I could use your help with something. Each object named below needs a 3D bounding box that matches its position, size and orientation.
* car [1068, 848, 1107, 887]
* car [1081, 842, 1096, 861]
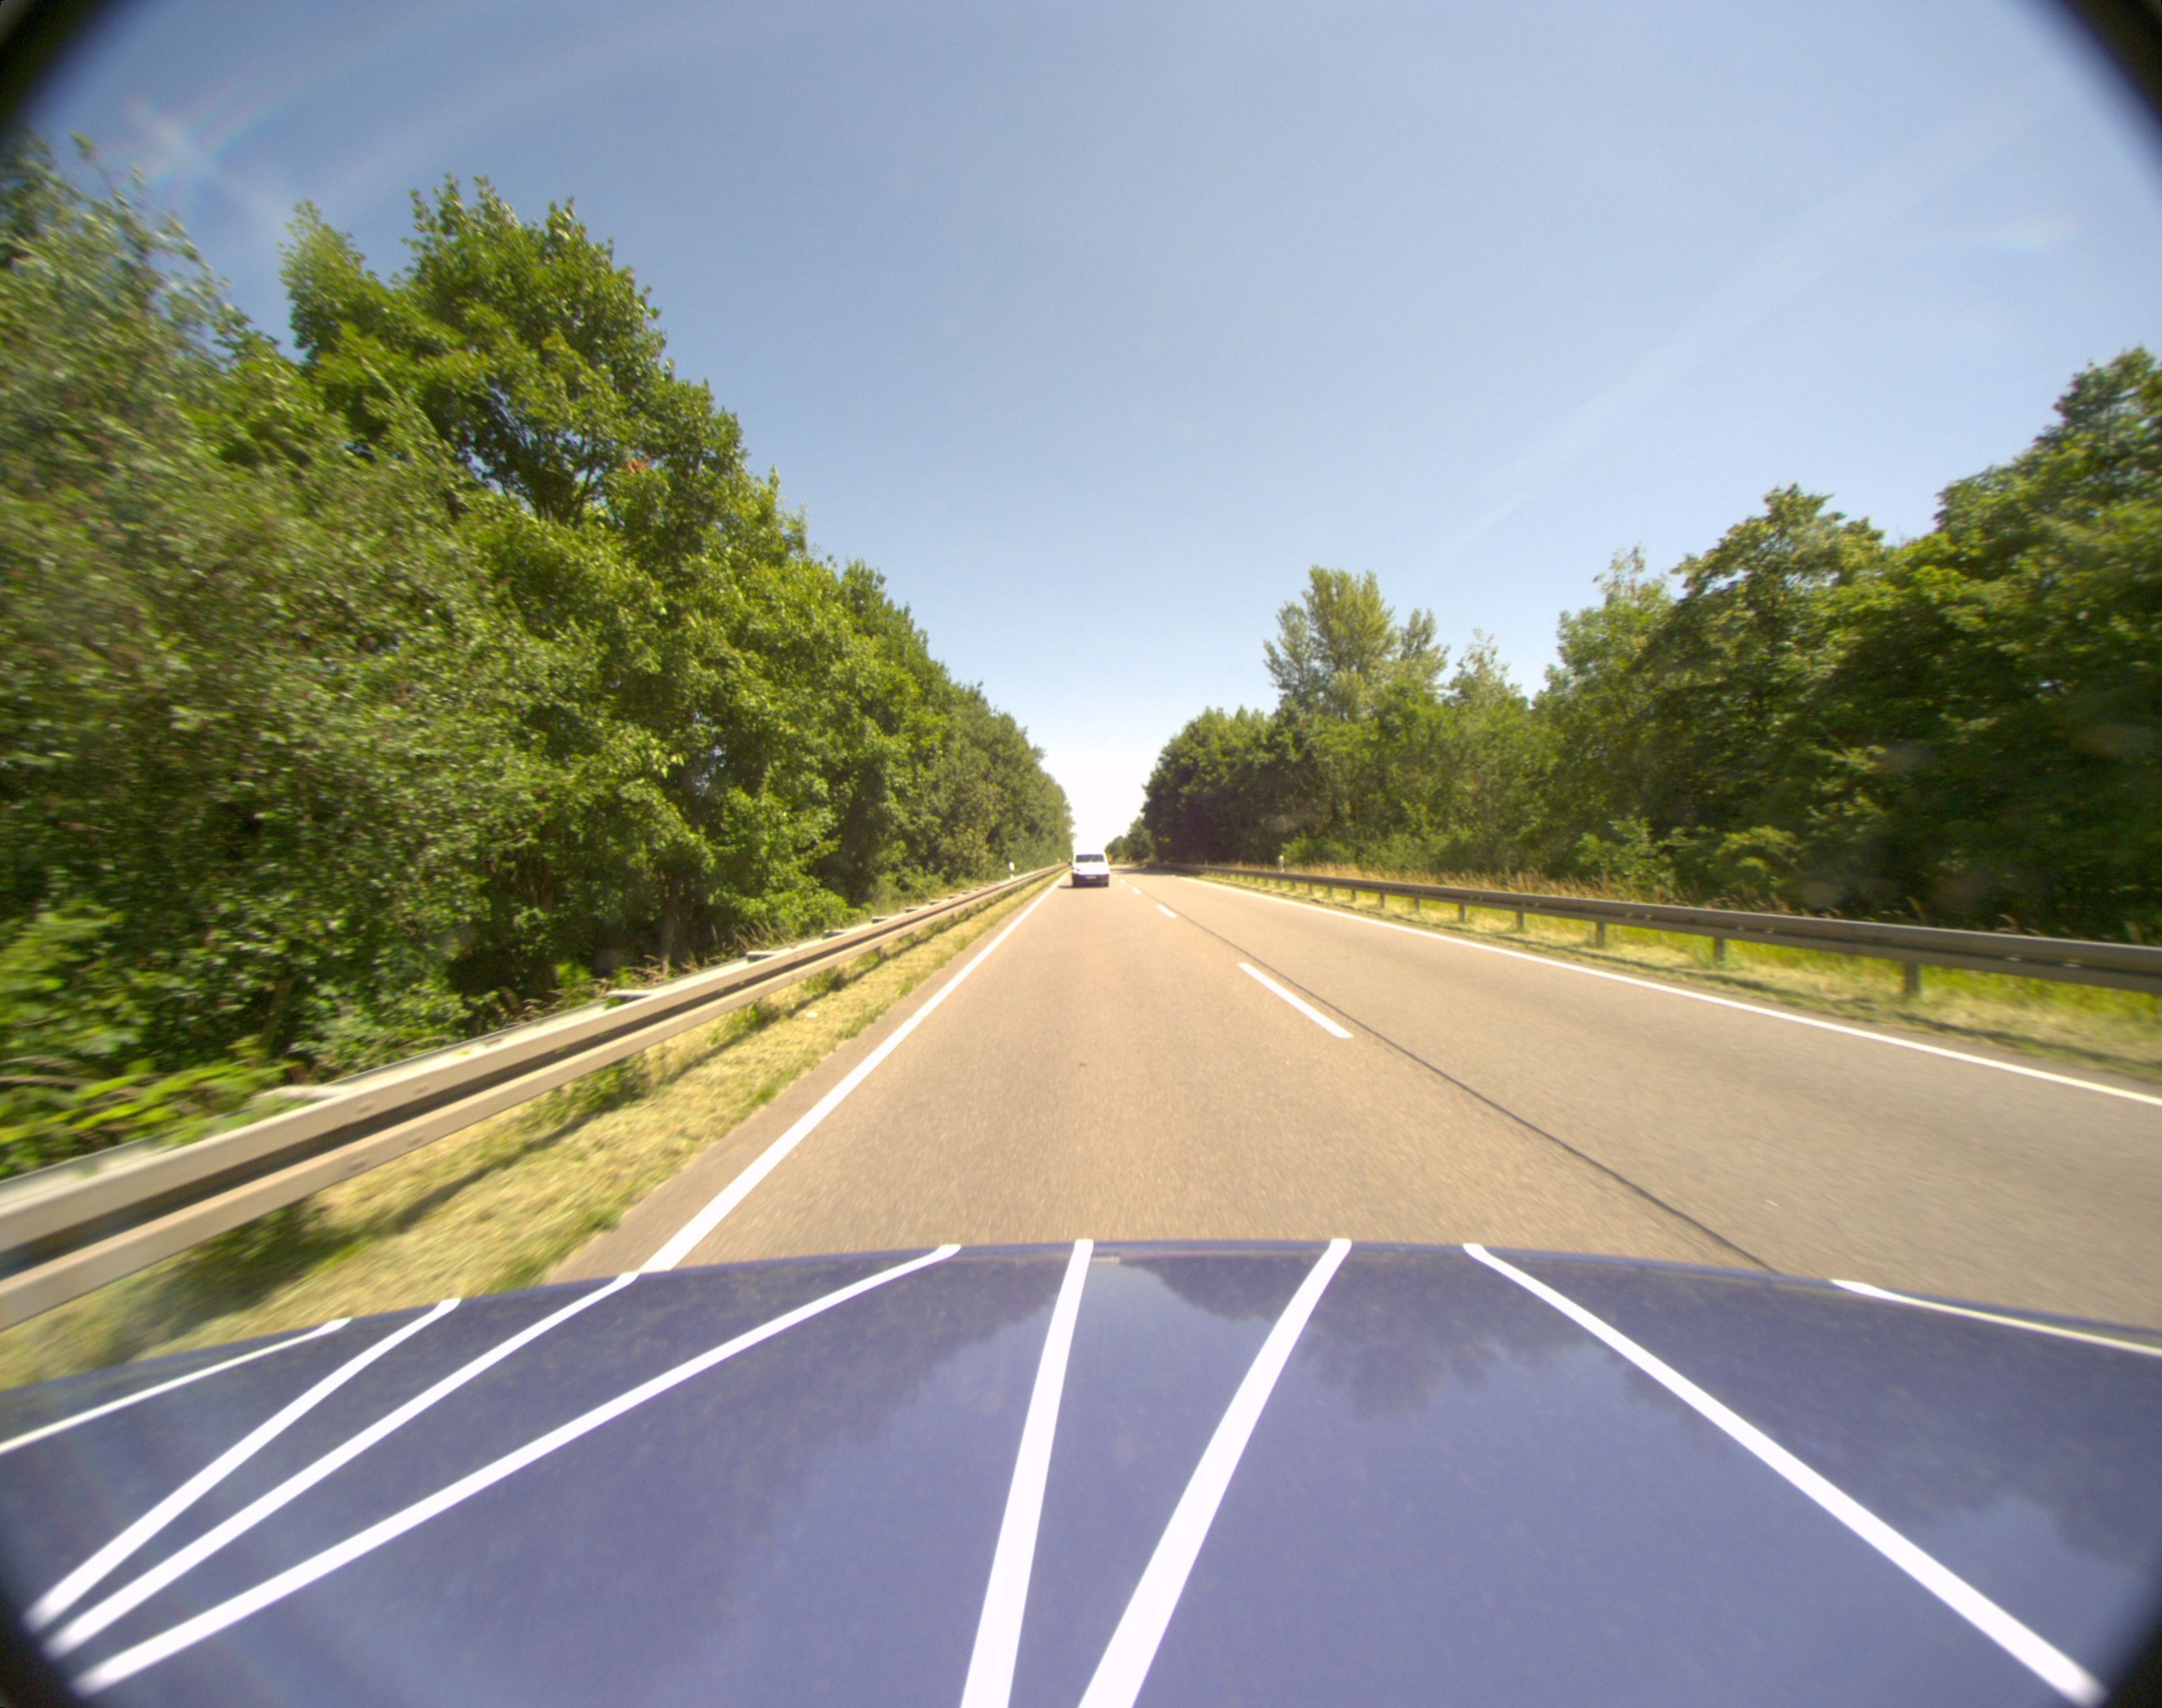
[{"bbox_3d":[0.345,0.669,37.809,1.782,1.743,4.513,-2,-1,1],"label":"car"},{"bbox_3d":[1.010,-0.265,96.339,1.782,2.287,4.106,-2,-1,1],"label":"car"}]
